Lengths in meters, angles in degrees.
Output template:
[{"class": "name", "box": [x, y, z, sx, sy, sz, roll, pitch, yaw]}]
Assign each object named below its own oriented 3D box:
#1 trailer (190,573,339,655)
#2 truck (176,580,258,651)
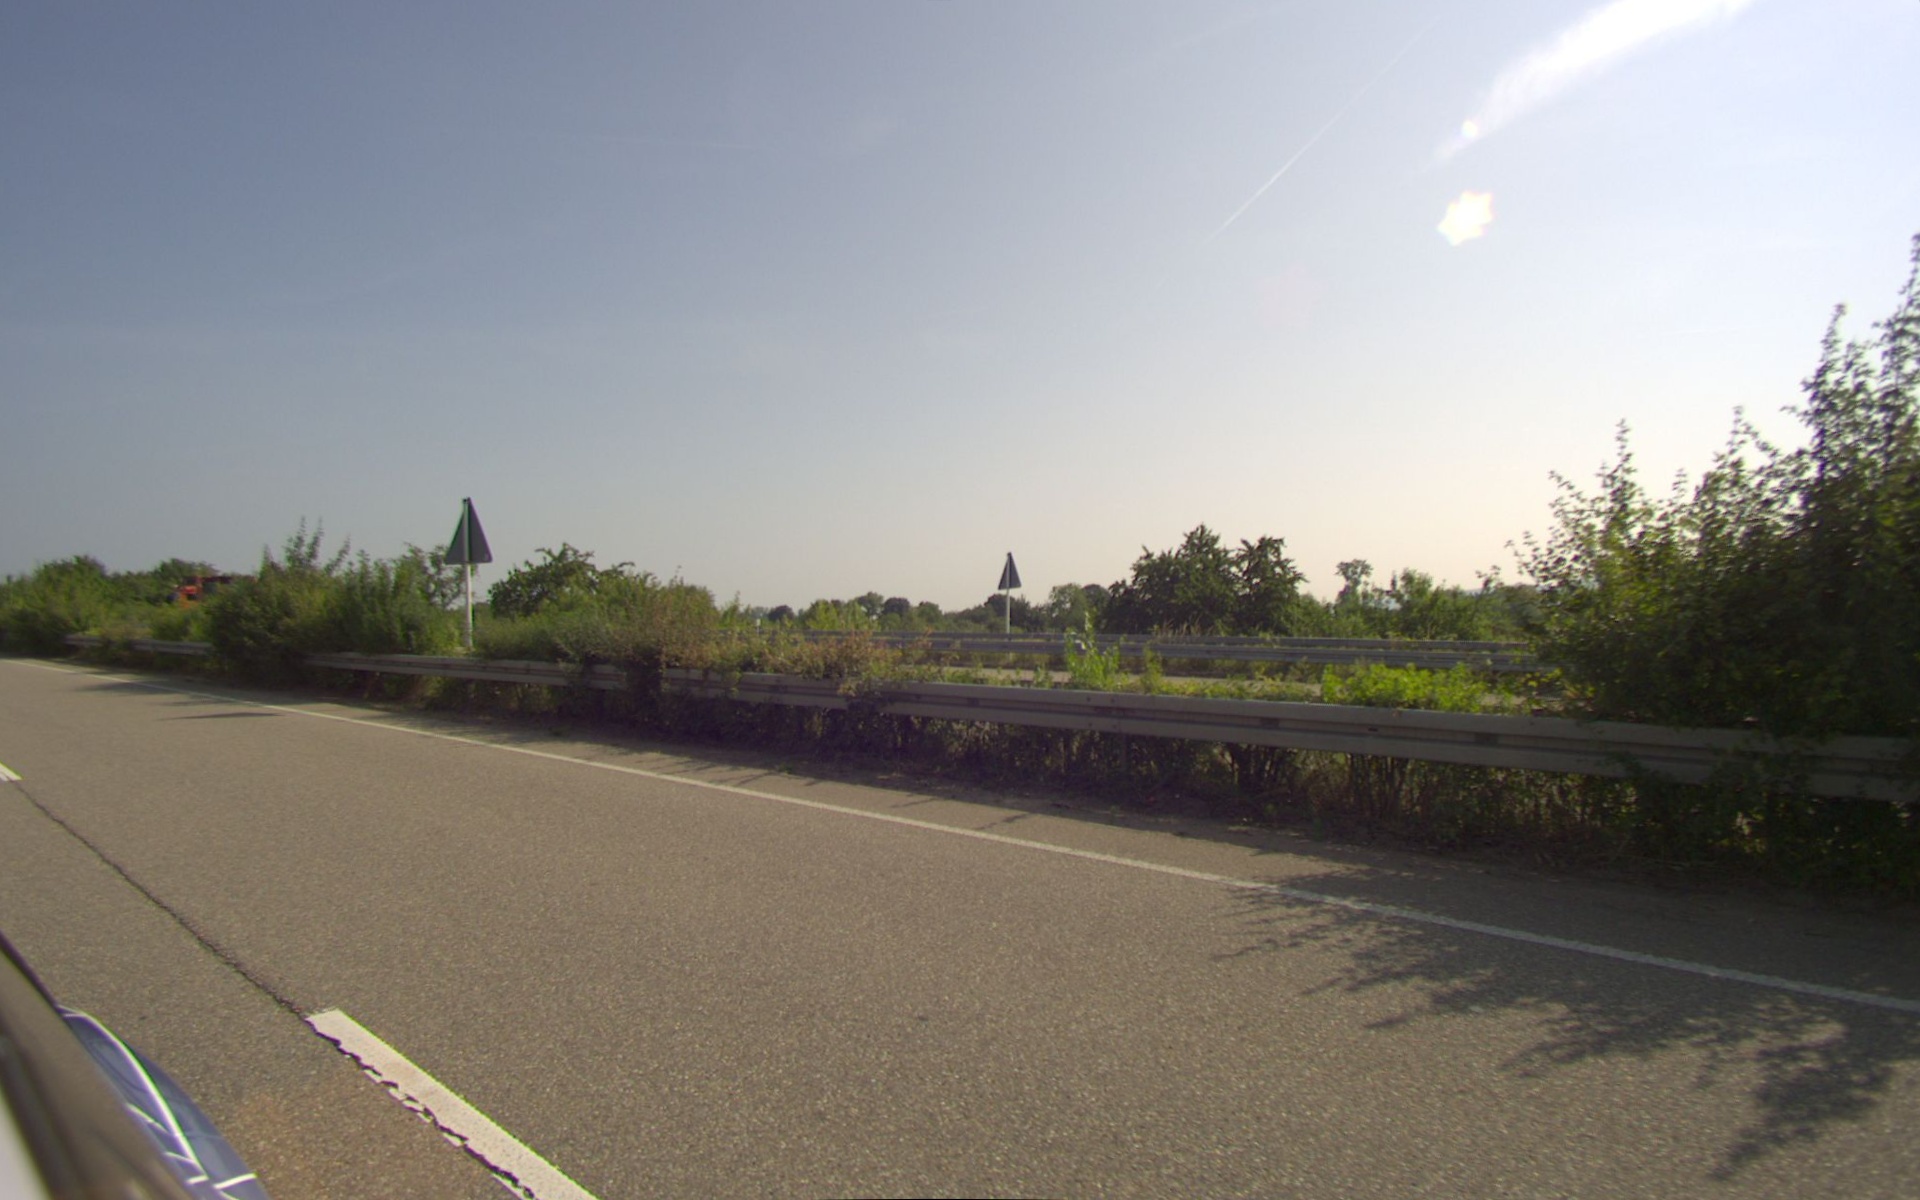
[{"class": "trailer", "box": [-32.286, 0.682, 46.603, 13.412, 3.401, 1.974, -1, -1, 39]}, {"class": "truck", "box": [-37.188, 0.785, 50.605, 5.622, 3.401, 1.974, -1, -1, 39]}]
